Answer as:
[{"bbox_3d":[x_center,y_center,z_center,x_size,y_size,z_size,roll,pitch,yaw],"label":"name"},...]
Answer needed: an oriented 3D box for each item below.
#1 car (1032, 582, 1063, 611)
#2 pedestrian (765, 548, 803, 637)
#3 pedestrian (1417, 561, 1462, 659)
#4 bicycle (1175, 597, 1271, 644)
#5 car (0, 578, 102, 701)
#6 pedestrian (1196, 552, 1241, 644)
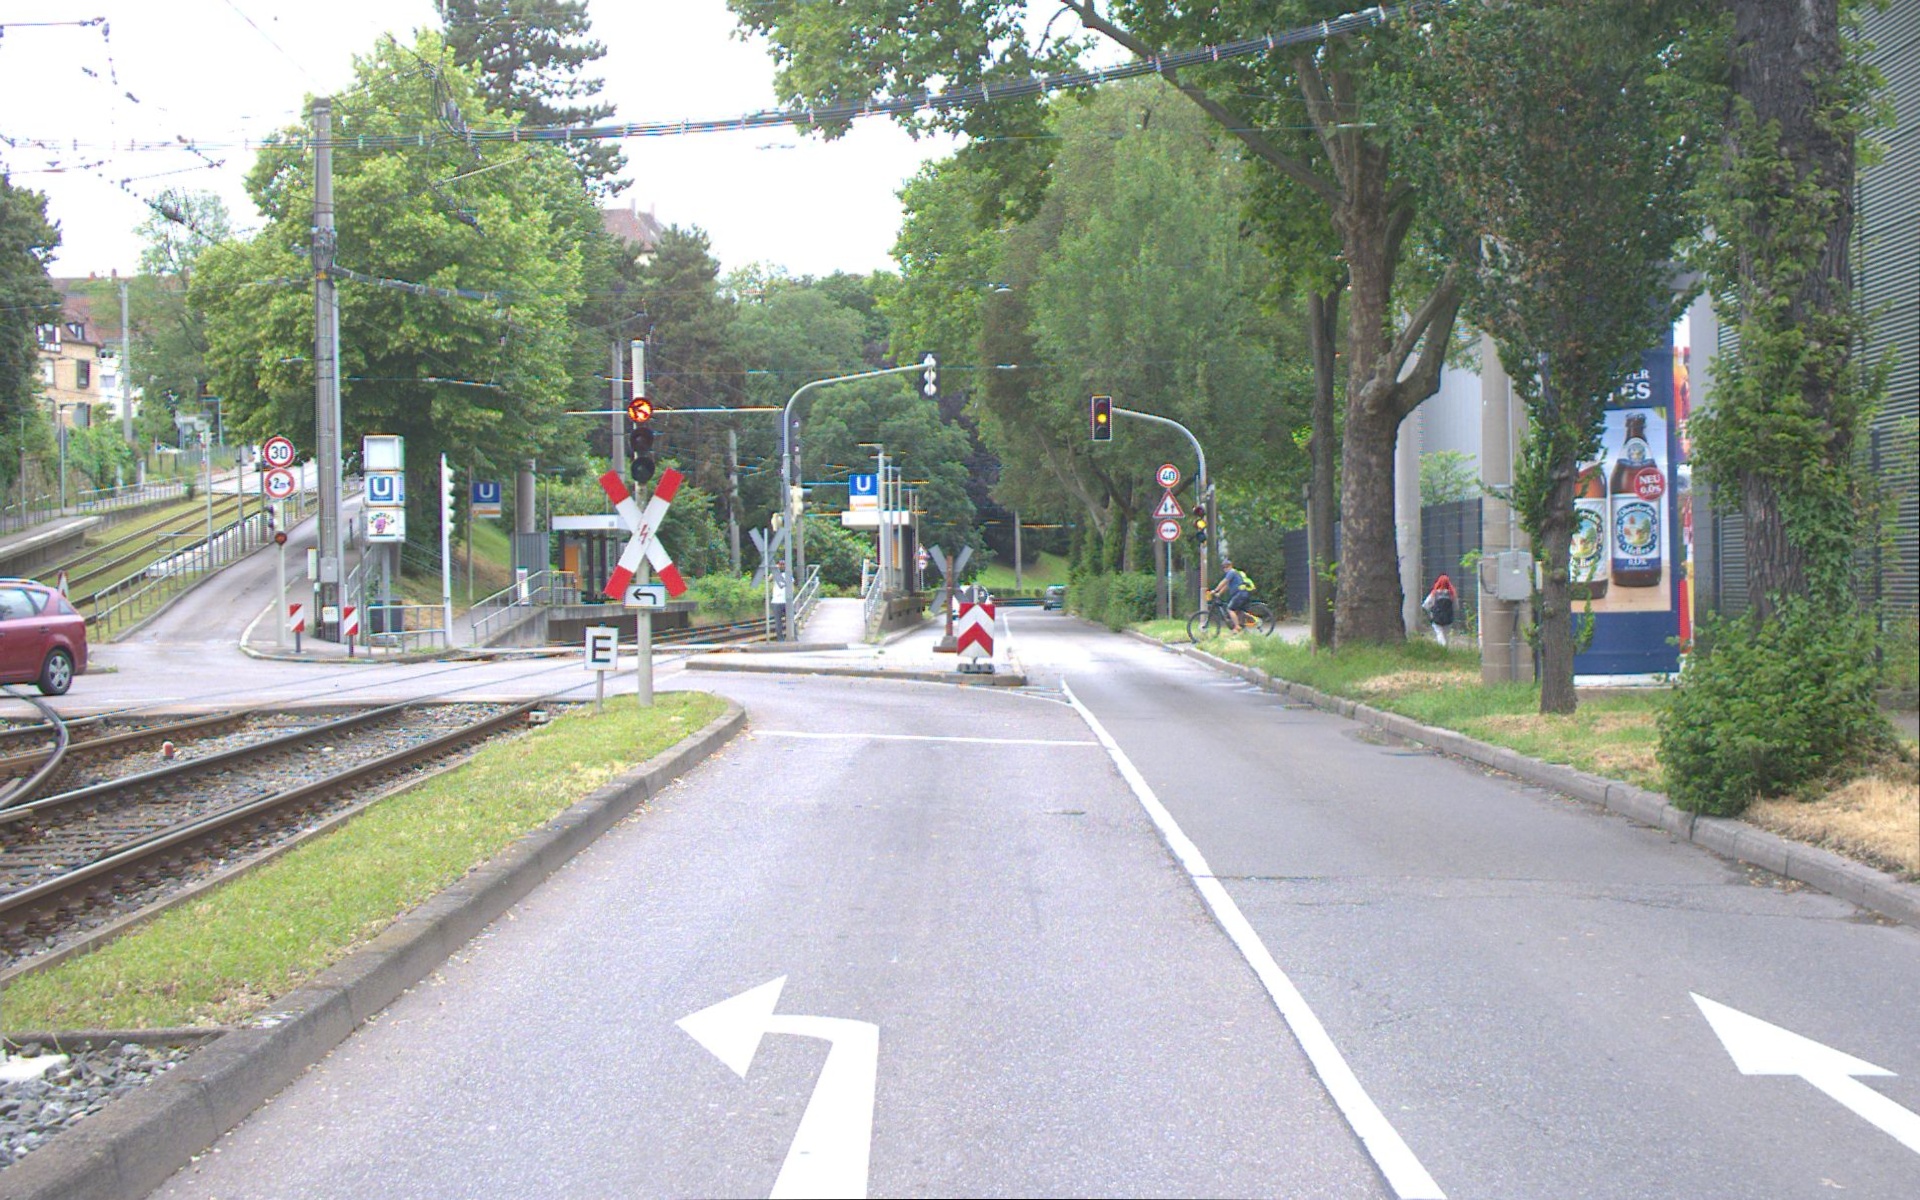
[{"bbox_3d":[5.757,-0.247,225.739,1.993,1.809,4.000,-1,1,1],"label":"car"},{"bbox_3d":[-3.694,-0.156,72.276,0.768,1.846,0.910,-1,0,-3],"label":"pedestrian"},{"bbox_3d":[7.662,0.161,55.001,0.666,1.548,0.934,-1,0,6],"label":"pedestrian"},{"bbox_3d":[5.803,0.443,75.783,2.075,1.003,0.668,-1,0,7],"label":"bicycle"},{"bbox_3d":[-12.948,0.494,43.037,1.996,1.510,4.495,0,1,23],"label":"car"},{"bbox_3d":[5.705,-0.047,75.807,0.931,2.007,0.668,-1,0,7],"label":"pedestrian"}]
